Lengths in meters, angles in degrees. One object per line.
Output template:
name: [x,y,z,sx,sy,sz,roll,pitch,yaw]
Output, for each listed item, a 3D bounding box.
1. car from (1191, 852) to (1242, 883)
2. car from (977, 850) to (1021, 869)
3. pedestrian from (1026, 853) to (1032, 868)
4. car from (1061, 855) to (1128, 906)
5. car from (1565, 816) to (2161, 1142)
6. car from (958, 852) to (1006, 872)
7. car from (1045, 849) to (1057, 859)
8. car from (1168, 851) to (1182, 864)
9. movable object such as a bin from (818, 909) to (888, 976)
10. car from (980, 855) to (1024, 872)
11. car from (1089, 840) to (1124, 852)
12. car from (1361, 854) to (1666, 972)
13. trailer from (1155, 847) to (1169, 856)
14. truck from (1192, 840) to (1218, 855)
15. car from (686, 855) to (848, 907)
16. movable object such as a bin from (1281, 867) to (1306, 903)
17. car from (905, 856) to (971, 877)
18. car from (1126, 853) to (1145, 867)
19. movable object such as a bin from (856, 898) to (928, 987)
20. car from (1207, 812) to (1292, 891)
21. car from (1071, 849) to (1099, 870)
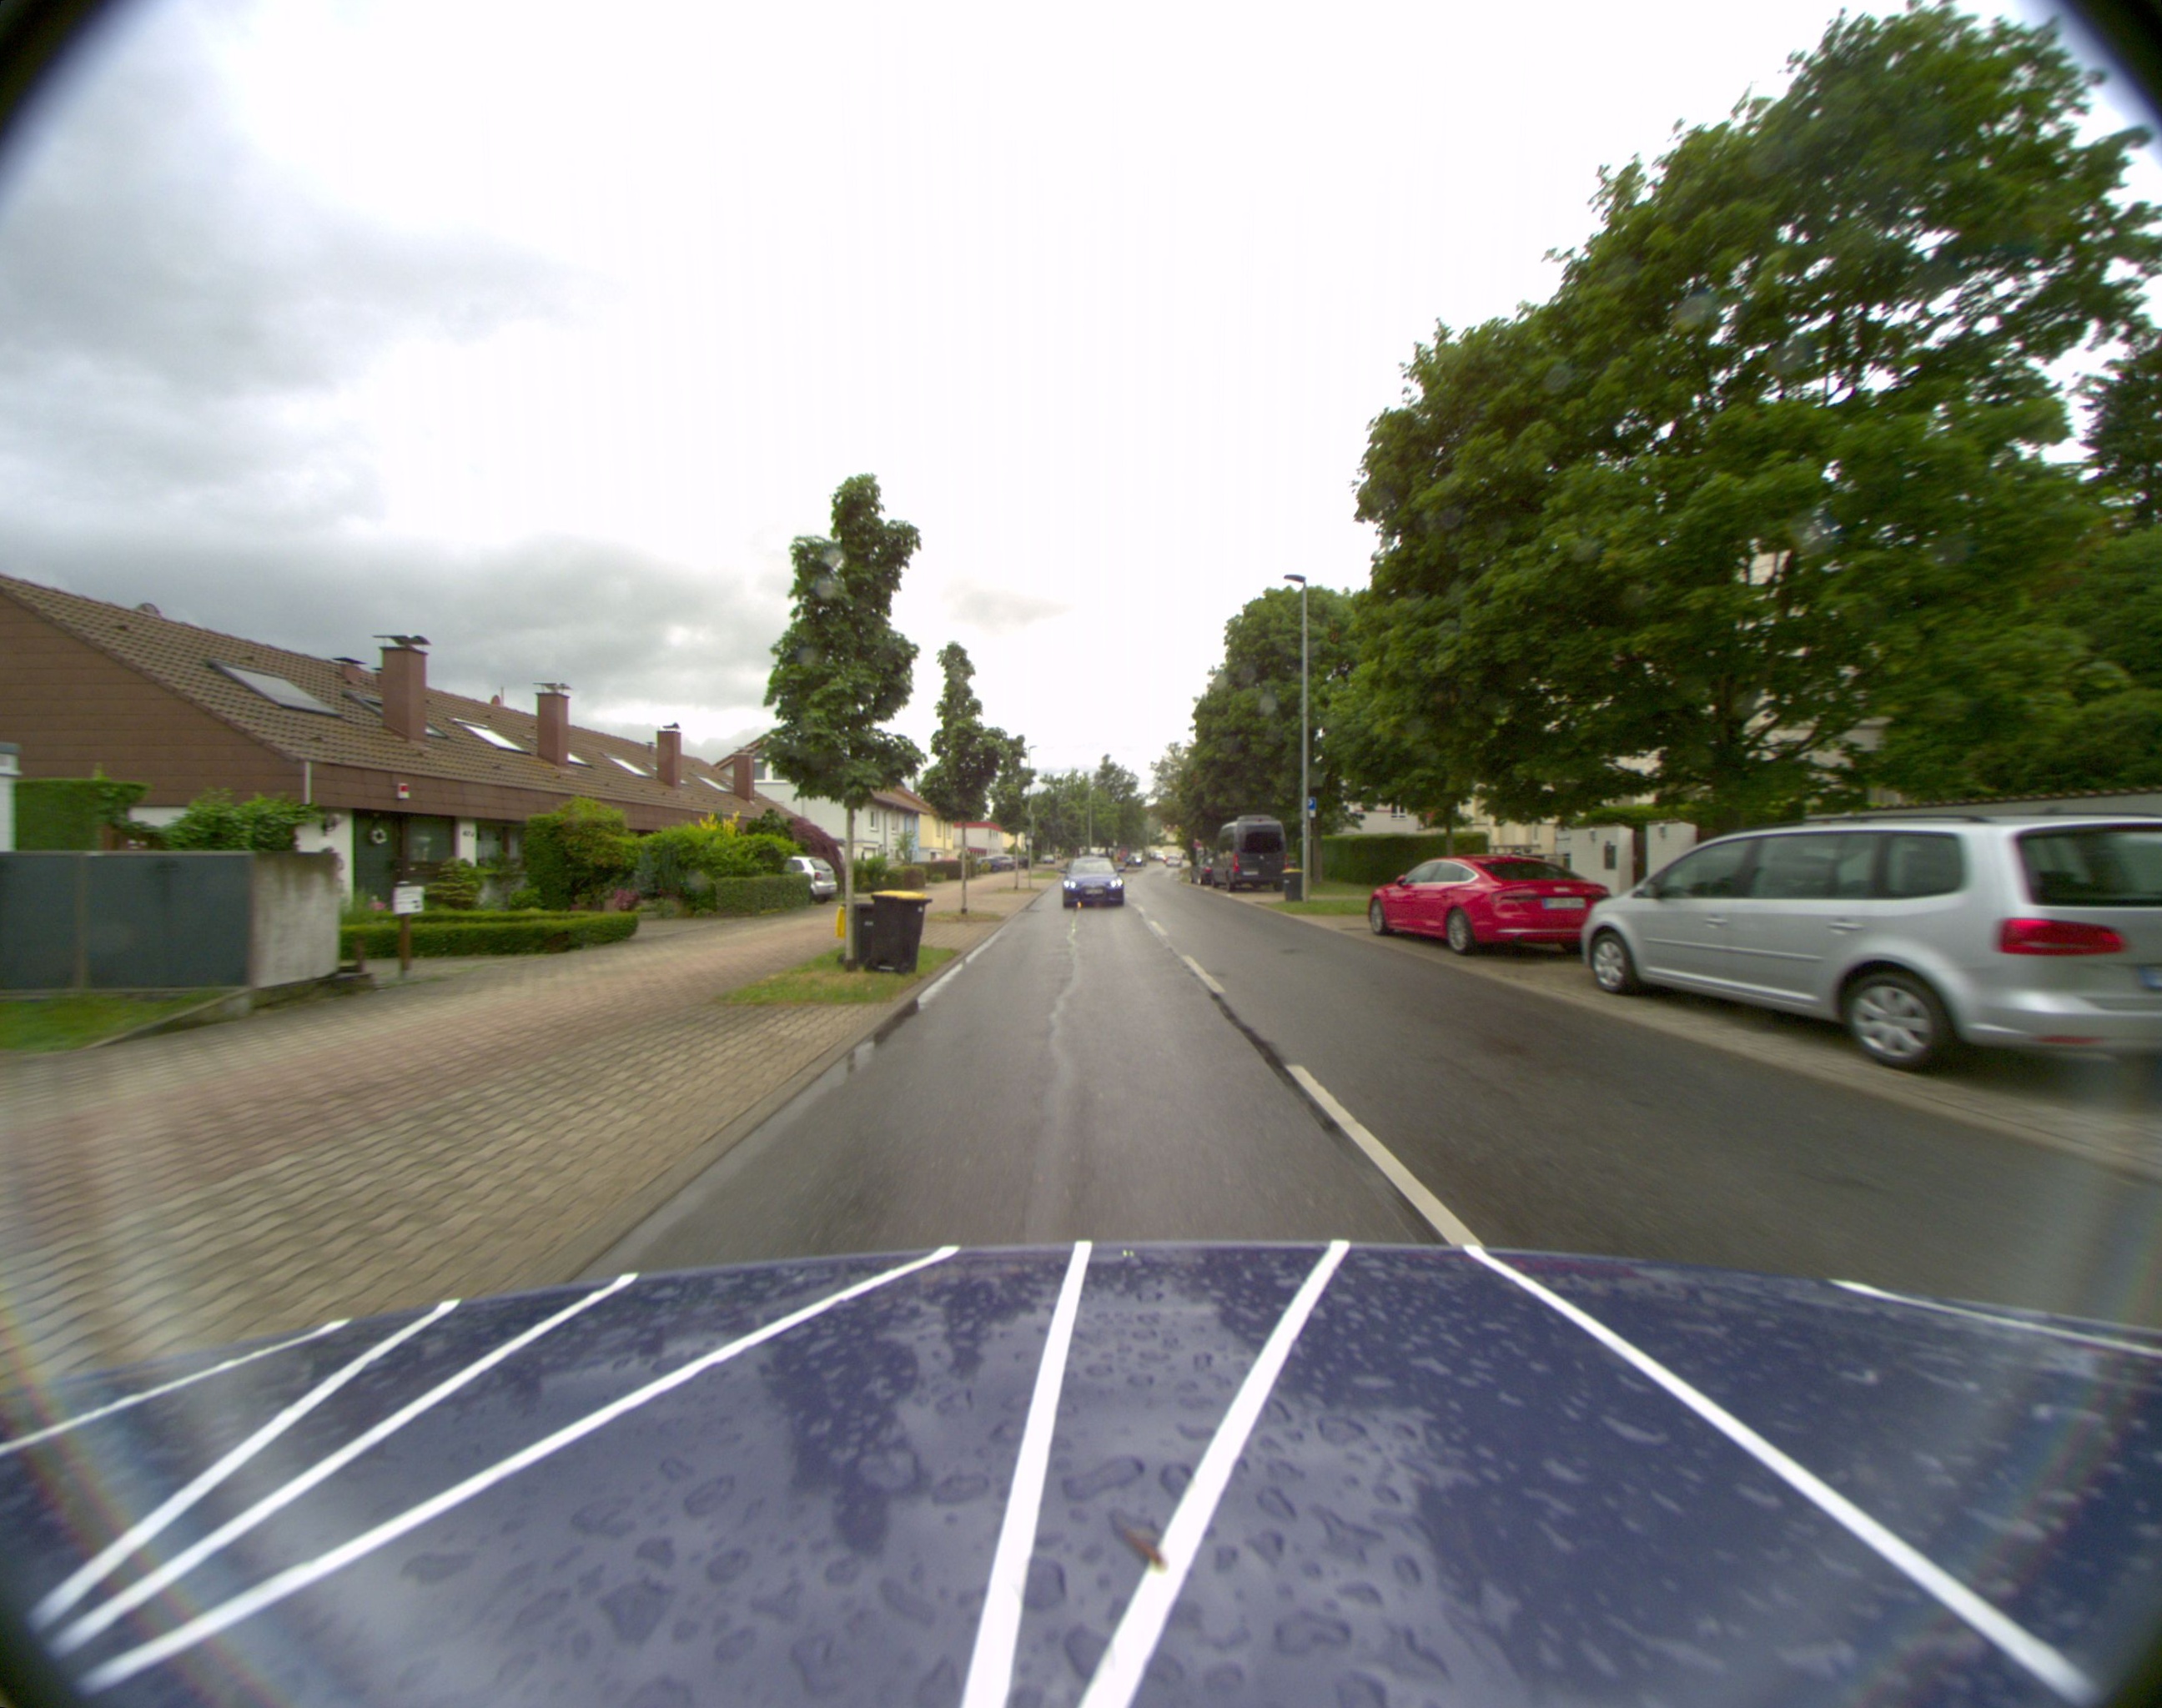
car: [6.326,0.586,35.916,1.727,1.400,3.825,0,0,0]
car: [-8.058,0.547,74.481,4.192,1.662,1.720,-3,1,-7]
pedestrian: [-5.458,0.688,79.978,0.666,1.549,0.842,-1,1,-5]
car: [0.376,0.816,24.276,1.913,1.425,4.301,-2,-1,-1]
car: [5.948,0.607,5.880,1.761,1.618,4.232,-1,0,1]
car: [-8.763,0.728,67.597,3.998,1.378,1.675,-5,-2,-4]
car: [-4.973,-0.033,126.928,1.691,1.501,3.826,-1,1,2]
car: [11.481,0.423,92.651,1.597,1.455,3.454,-1,0,7]
movable object such as a bin: [-3.118,1.189,10.401,0.659,0.796,0.602,3,2,26]
car: [-8.056,0.985,77.854,4.189,1.662,1.991,-1,1,1]
car: [4.535,-1.450,135.453,5.824,2.002,2.003,0,1,25]
car: [6.089,0.716,11.492,1.999,1.395,4.556,-1,0,0]
trailer: [13.977,-0.444,131.057,1.998,1.534,4.426,0,1,1]
truck: [18.817,-0.952,115.096,2.218,2.191,6.475,0,0,26]
car: [-9.172,0.777,22.447,3.996,1.434,1.847,0,1,1]
movable object such as a bin: [5.749,0.823,20.582,0.559,0.948,0.549,-1,0,4]
car: [-9.748,0.837,51.633,4.319,1.253,1.677,-2,0,-13]
car: [6.465,0.657,90.281,1.841,1.541,3.999,-1,1,-2]
movable object such as a bin: [-2.404,1.105,9.681,0.614,1.009,0.563,5,2,26]
car: [6.415,-0.084,29.650,1.998,2.712,5.938,-2,0,1]
car: [0.278,0.380,54.264,1.841,1.440,3.999,-1,1,-2]
